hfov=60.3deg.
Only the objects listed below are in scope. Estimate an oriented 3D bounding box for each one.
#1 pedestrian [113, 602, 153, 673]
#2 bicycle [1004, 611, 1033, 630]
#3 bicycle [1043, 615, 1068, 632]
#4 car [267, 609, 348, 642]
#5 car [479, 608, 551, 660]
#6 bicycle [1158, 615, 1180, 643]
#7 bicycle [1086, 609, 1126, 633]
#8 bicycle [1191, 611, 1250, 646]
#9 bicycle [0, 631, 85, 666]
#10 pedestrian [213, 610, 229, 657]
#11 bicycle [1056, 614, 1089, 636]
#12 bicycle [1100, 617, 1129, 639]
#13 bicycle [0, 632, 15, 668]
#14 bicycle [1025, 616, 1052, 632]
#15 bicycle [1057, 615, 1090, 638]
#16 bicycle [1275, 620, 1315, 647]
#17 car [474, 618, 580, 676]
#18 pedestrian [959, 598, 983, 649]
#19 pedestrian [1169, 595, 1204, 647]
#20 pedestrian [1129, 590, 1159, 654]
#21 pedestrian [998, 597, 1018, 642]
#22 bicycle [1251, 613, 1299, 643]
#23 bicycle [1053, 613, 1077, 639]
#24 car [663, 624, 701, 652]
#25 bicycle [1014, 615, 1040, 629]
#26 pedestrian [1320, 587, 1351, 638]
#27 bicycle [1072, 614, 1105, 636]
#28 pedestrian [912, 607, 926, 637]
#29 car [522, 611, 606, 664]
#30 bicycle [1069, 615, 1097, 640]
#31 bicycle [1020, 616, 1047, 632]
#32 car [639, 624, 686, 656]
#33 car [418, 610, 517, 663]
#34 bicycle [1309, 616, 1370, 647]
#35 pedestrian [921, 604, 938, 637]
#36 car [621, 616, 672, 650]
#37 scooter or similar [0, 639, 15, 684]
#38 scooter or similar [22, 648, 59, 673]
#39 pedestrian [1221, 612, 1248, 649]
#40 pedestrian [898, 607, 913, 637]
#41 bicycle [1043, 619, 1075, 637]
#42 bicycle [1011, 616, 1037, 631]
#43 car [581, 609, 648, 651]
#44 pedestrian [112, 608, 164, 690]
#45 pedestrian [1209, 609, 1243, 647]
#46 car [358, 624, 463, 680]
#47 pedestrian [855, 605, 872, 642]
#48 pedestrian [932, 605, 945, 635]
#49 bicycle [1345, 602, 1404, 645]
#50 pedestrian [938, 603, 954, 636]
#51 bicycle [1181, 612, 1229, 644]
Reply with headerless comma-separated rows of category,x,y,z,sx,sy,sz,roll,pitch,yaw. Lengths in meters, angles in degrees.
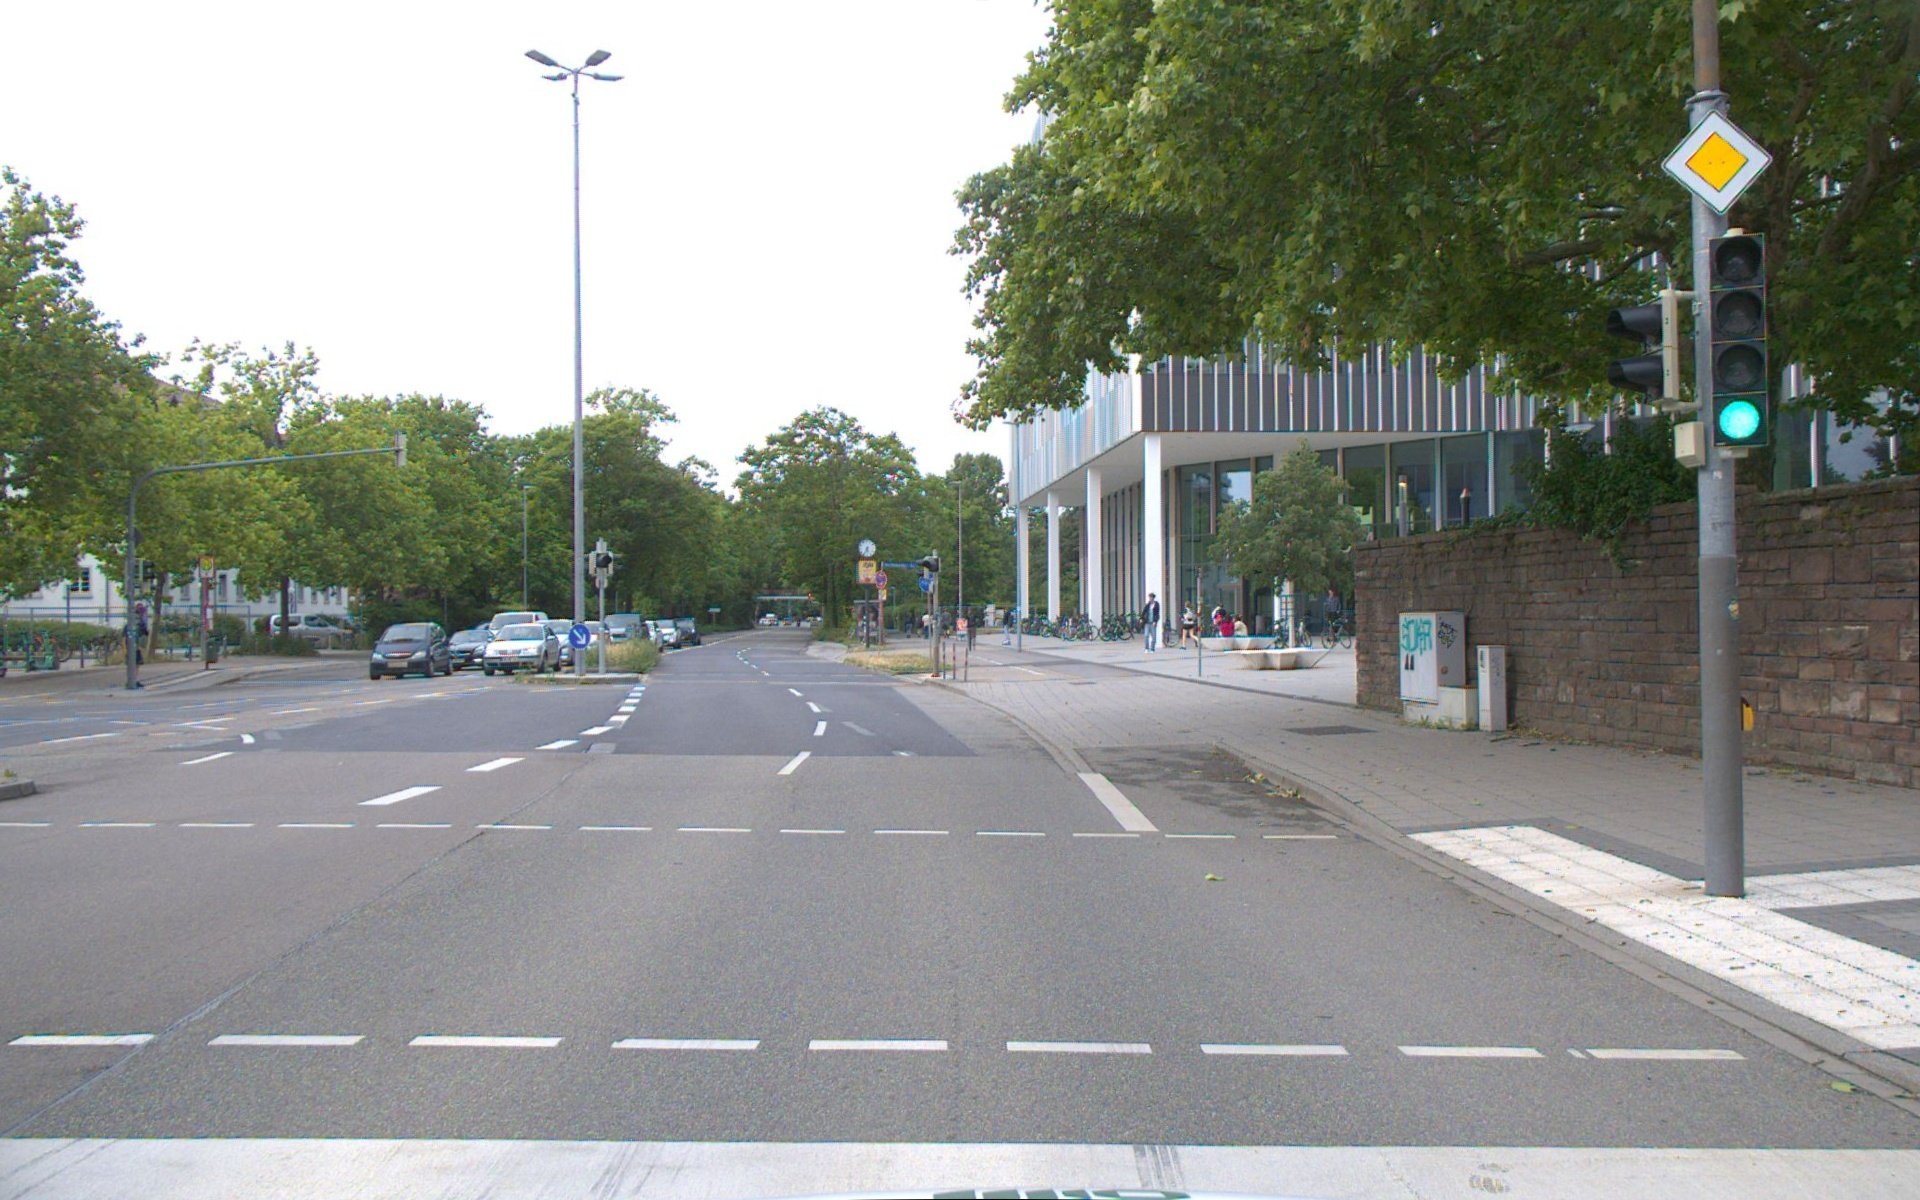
pedestrian,-24.384,1.106,48.757,0.787,2.049,0.923,1,-1,-11
bicycle,3.782,1.327,106.352,1.760,1.100,0.625,-3,0,-7
bicycle,5.168,1.273,89.807,1.258,0.890,0.556,-2,-1,-4
car,-33.634,1.310,85.311,3.517,1.630,1.649,1,-1,-7
car,-17.028,1.285,63.431,1.736,1.880,4.485,1,-1,-3
bicycle,8.127,1.132,64.392,0.625,1.080,1.840,1,-1,0
bicycle,7.529,1.073,85.286,1.948,1.164,0.646,-3,0,37
bicycle,9.606,1.036,60.962,0.761,1.209,2.702,-2,-1,43
bicycle,-33.854,1.776,60.999,2.695,1.195,0.720,-1,-1,-9
pedestrian,-27.942,1.277,62.528,0.412,1.769,0.433,1,-1,-11
bicycle,5.682,1.276,83.454,1.575,0.999,0.556,-3,0,-4
bicycle,6.996,1.264,74.704,1.477,0.945,0.433,-2,1,-44
bicycle,-33.138,1.706,55.856,2.002,1.173,0.716,-1,-1,-23
bicycle,4.773,1.462,100.670,1.575,0.890,0.556,-2,-1,-4
bicycle,5.840,1.357,85.054,1.610,1.110,0.572,-4,-1,4
bicycle,11.855,1.173,58.497,0.659,0.914,1.838,-2,-1,36
car,-12.498,1.322,48.002,1.953,1.556,4.273,-1,0,-1
pedestrian,0.456,0.973,68.191,0.826,2.049,0.894,-3,-1,-3
pedestrian,8.106,0.752,59.248,0.835,1.868,0.884,0,-1,-34
pedestrian,6.031,0.721,54.209,0.826,2.049,0.894,-1,-1,-3
pedestrian,2.251,0.913,77.371,0.826,2.049,0.894,-1,-1,-3
bicycle,11.279,0.988,59.160,0.761,1.019,1.947,-2,-1,43
bicycle,5.002,1.237,79.226,0.624,1.160,2.196,-3,0,-9
car,-16.849,2.272,100.536,1.866,1.621,4.512,-1,-1,-5
bicycle,4.247,1.388,105.245,1.576,0.890,0.555,-1,-1,-9
pedestrian,15.765,0.524,69.474,1.156,2.098,1.136,1,-1,17
bicycle,6.380,1.235,82.027,1.572,0.952,0.569,-3,0,6
pedestrian,-2.827,1.508,114.277,0.809,2.049,0.718,-1,-1,-9
car,-13.364,1.230,55.998,1.918,1.611,4.254,-1,0,-2
bicycle,5.696,1.261,76.528,0.598,1.099,1.954,-3,0,-16
bicycle,4.504,1.483,101.839,1.575,0.890,0.556,-2,-1,-4
car,-15.729,2.111,87.581,1.955,1.574,4.175,-2,0,-5
car,-16.271,1.181,54.838,1.952,1.648,4.001,-1,0,2
bicycle,13.054,1.085,56.872,2.166,1.023,0.772,-1,-1,-35
pedestrian,-1.963,1.308,105.368,0.908,2.049,1.037,-1,-1,-9
car,-14.845,1.546,78.536,1.866,1.491,4.906,1,-1,-5
scooter or similar,-25.350,1.614,43.445,0.353,1.160,1.318,-1,-1,-4
scooter or similar,-27.246,1.784,49.021,0.398,0.706,1.288,1,-1,-2
pedestrian,9.062,0.997,54.588,0.872,1.214,0.846,-1,-1,9
pedestrian,-3.776,1.516,114.413,0.908,2.049,1.037,-1,-1,-9
bicycle,5.199,1.469,86.874,1.575,0.890,0.556,-1,-1,-4
bicycle,4.003,1.471,103.405,1.575,0.890,0.556,-2,-1,-4
car,-14.744,1.244,70.770,1.953,1.717,4.946,1,0,-2
pedestrian,-21.086,1.246,42.458,0.877,2.049,1.008,-1,-1,-7
pedestrian,8.669,0.904,53.957,0.826,1.227,0.893,-1,-1,29
car,-15.786,1.474,47.716,1.814,1.489,3.696,-1,0,-1
pedestrian,-5.507,1.330,94.364,0.895,2.048,0.853,-3,1,-6
pedestrian,-1.522,1.403,114.866,0.808,2.049,0.719,-1,-1,-6
bicycle,13.968,0.783,55.777,1.978,1.328,0.640,-2,1,-27
pedestrian,-0.879,1.253,105.520,0.908,2.049,1.038,-1,-1,-6
bicycle,9.235,1.051,62.335,0.723,1.135,2.170,-2,-1,42
